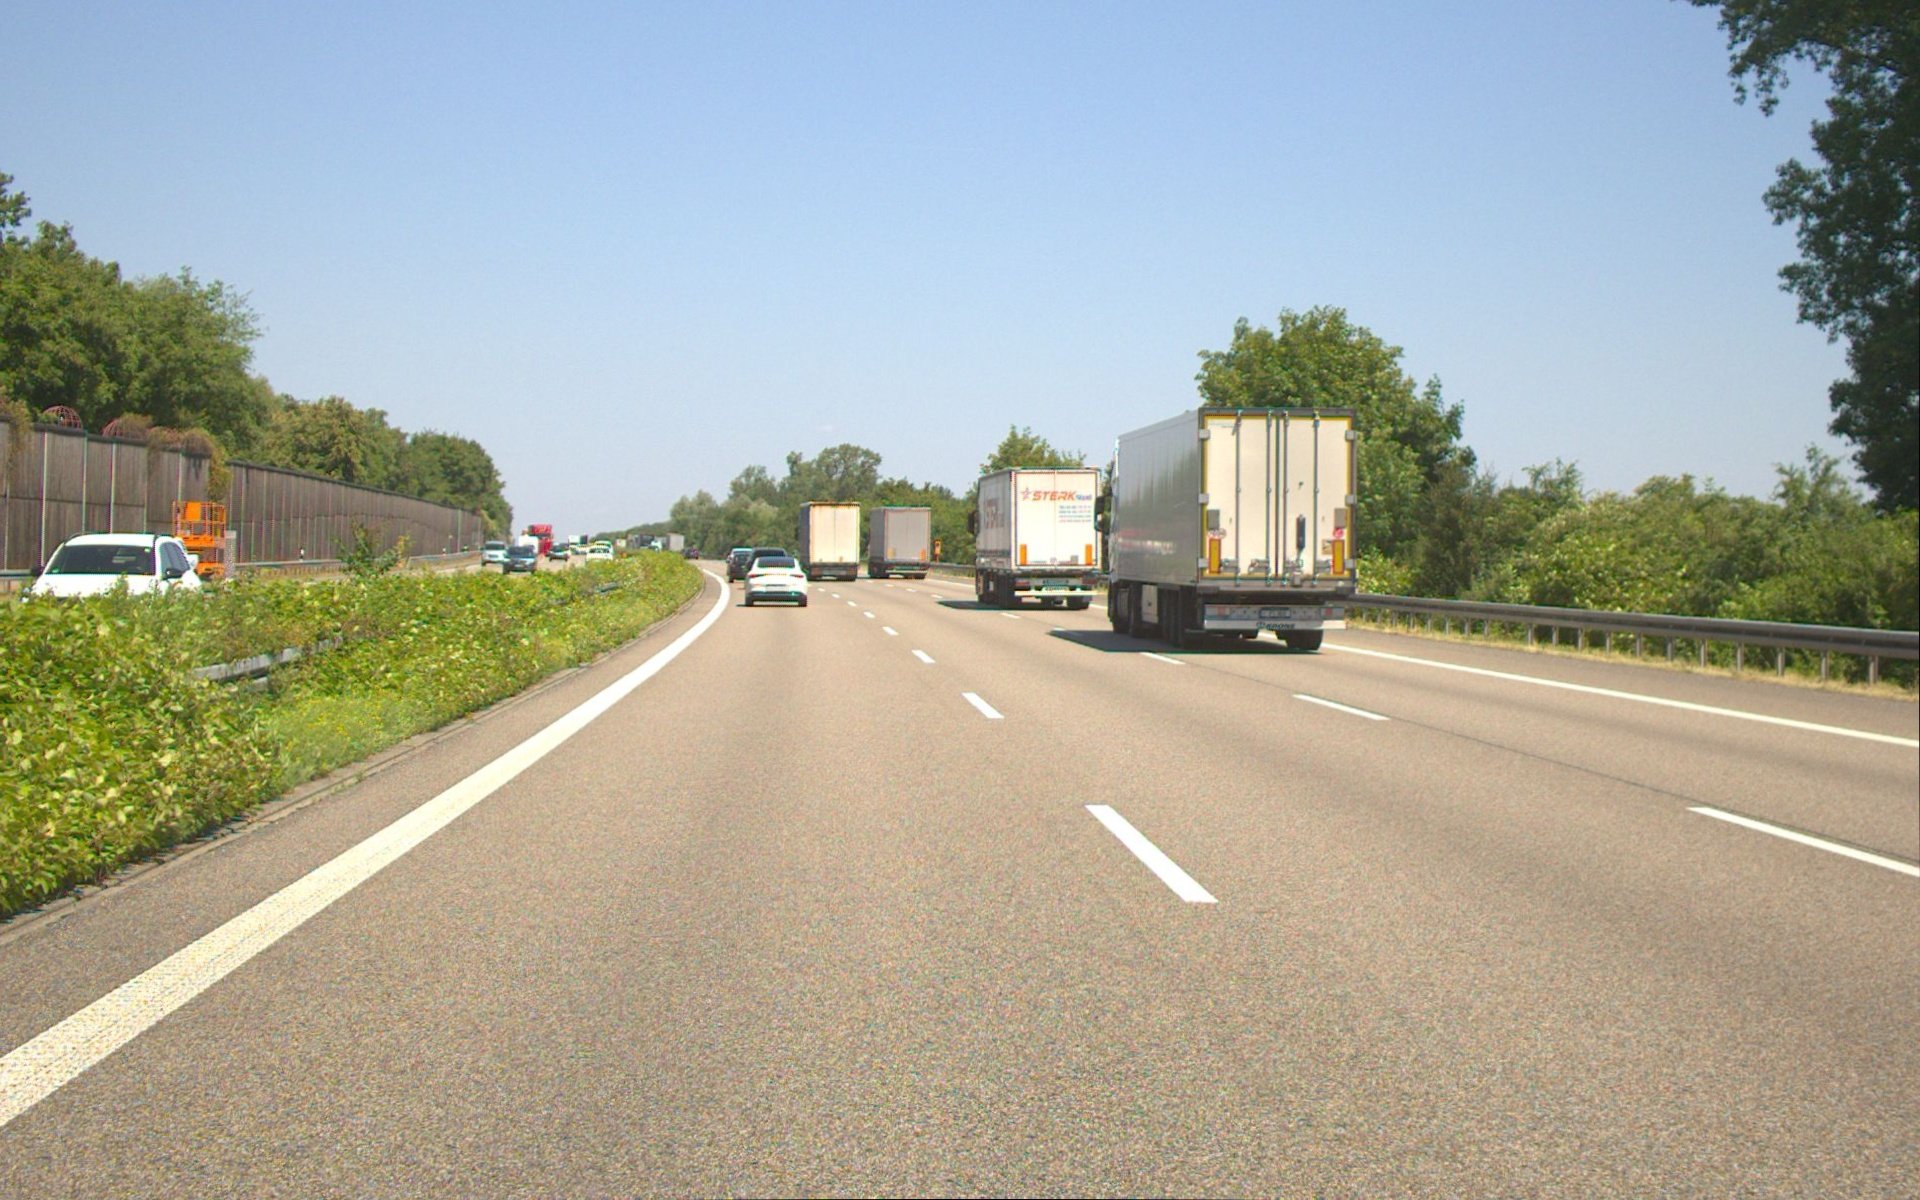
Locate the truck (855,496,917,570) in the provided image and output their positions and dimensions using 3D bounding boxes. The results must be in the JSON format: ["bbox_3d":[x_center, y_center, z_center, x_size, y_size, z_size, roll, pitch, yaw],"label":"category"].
[{"bbox_3d":[-4.413,-3.949,203.285,2.690,4.201,7.840,2,0,-8],"label":"truck"}]

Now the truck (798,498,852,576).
[{"bbox_3d":[-7.354,-3.363,186.925,2.727,4.072,7.278,2,0,-3],"label":"truck"}]

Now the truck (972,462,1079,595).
[{"bbox_3d":[2.030,-2.238,109.609,2.707,4.074,6.965,1,0,-4],"label":"truck"}]

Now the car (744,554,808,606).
[{"bbox_3d":[-5.456,-0.595,101.836,1.855,1.481,4.001,1,1,-3],"label":"car"}]

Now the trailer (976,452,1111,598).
[{"bbox_3d":[2.392,-2.192,104.015,2.707,4.074,14.153,1,1,-4],"label":"trailer"}]

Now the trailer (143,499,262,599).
[{"bbox_3d":[-21.917,-1.481,99.712,2.242,2.766,6.510,1,1,-2],"label":"trailer"}]

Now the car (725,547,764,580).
[{"bbox_3d":[-10.507,-1.783,167.921,1.855,1.611,4.001,1,1,-3],"label":"car"}]

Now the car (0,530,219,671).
[{"bbox_3d":[-11.448,-0.036,46.313,1.995,1.714,5.024,2,1,-3],"label":"car"}]

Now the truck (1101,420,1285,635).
[{"bbox_3d":[4.607,-1.430,69.129,2.959,4.092,6.207,1,1,-2],"label":"truck"}]

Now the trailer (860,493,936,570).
[{"bbox_3d":[-3.617,-3.884,197.332,2.703,4.201,13.215,2,0,-8],"label":"trailer"}]

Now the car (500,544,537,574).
[{"bbox_3d":[-24.867,-2.317,193.523,1.993,1.641,4.694,1,1,-8],"label":"car"}]

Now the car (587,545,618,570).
[{"bbox_3d":[-24.704,-2.953,237.900,1.993,1.641,5.046,1,1,-5],"label":"car"}]

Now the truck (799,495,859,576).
[{"bbox_3d":[-6.992,-3.329,181.540,2.706,4.072,13.475,2,0,-4],"label":"truck"}]

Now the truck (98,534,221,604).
[{"bbox_3d":[-21.674,-0.864,93.368,2.101,1.810,6.212,1,1,-2],"label":"truck"}]

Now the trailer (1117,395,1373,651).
[{"bbox_3d":[4.885,-1.328,61.682,2.959,4.092,12.534,1,1,-2],"label":"trailer"}]
